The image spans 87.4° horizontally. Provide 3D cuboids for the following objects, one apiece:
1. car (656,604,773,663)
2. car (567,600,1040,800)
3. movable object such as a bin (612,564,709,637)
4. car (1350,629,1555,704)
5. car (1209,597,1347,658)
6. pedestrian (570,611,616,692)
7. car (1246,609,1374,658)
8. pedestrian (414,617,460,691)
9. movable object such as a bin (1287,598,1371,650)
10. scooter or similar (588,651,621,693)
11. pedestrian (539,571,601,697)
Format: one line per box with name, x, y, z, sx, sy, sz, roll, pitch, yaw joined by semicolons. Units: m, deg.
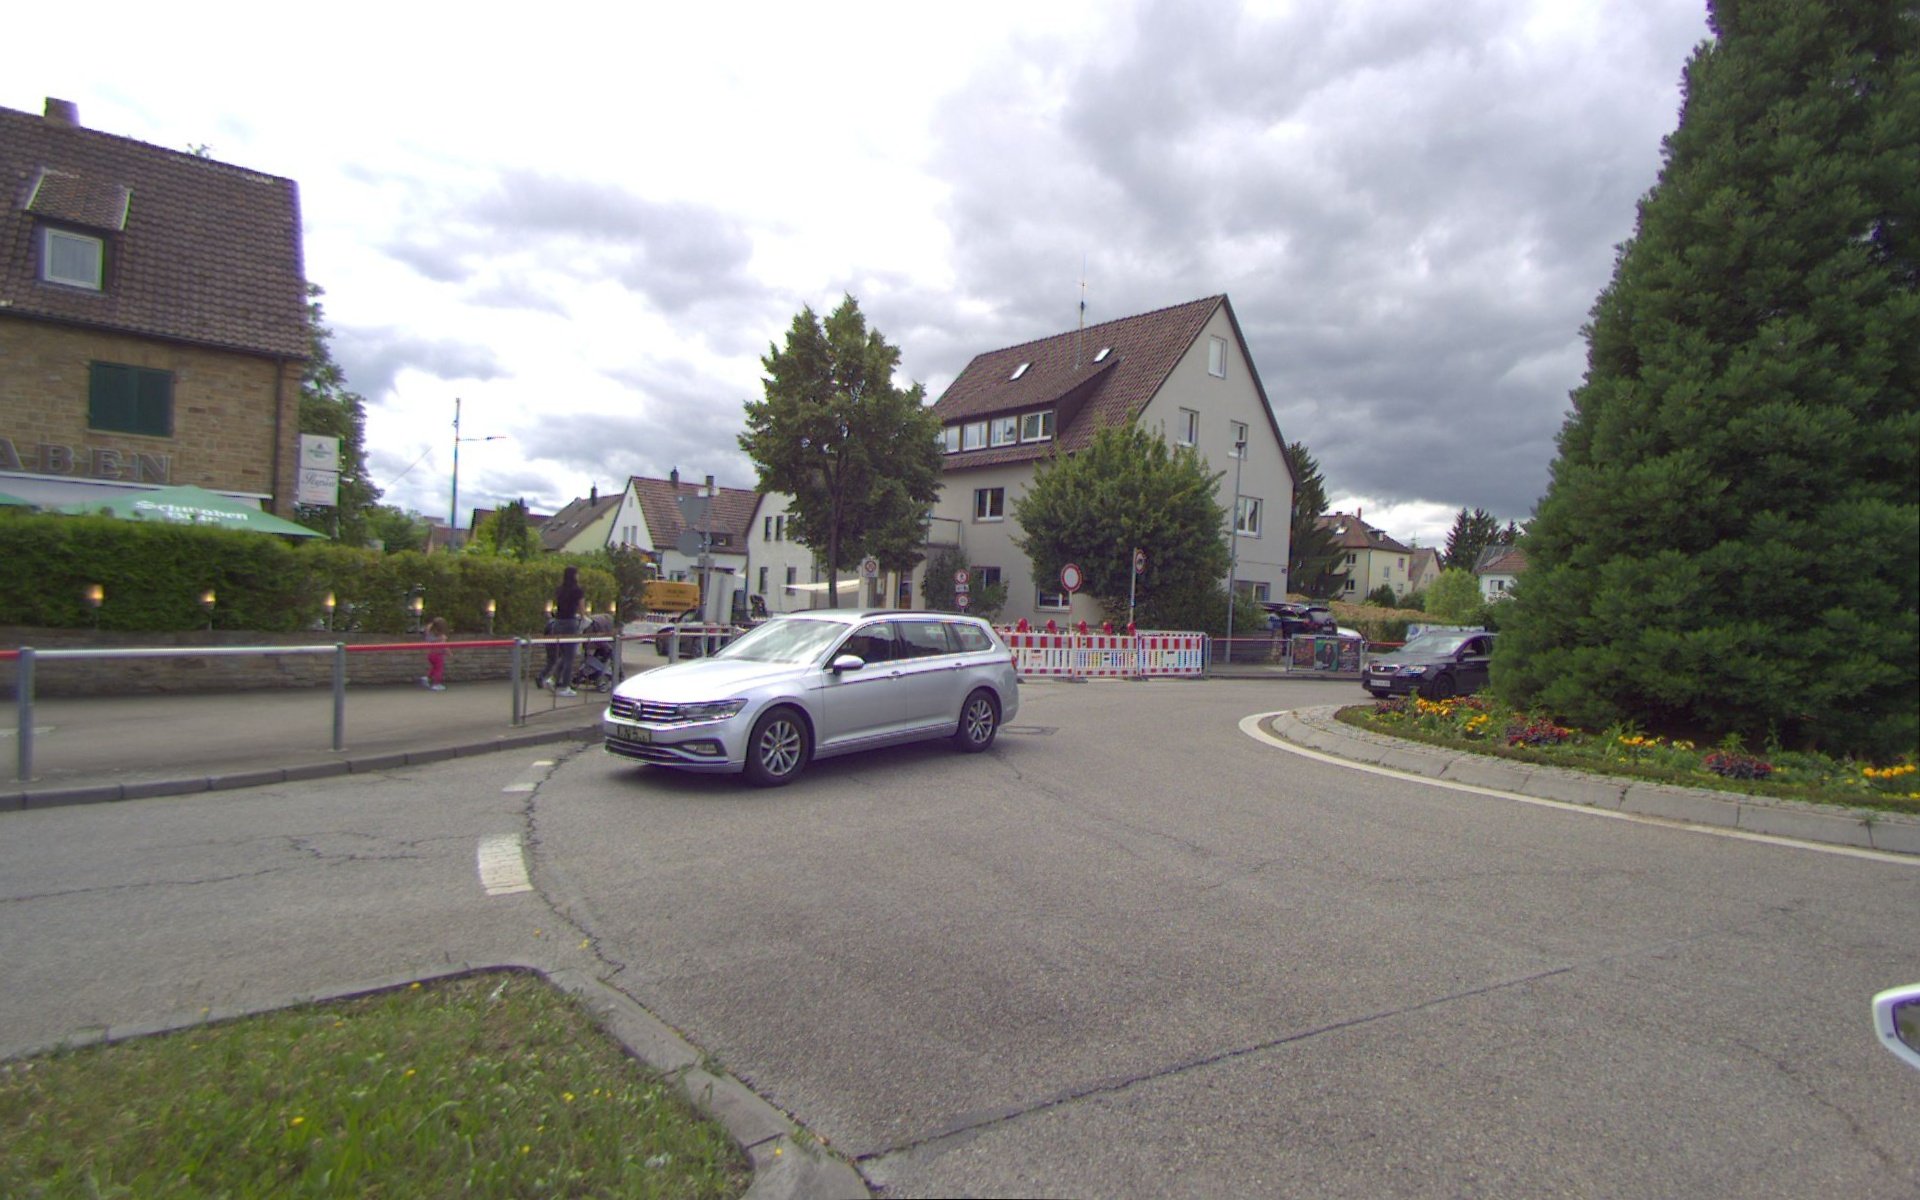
car;-6.660;0.870;27.033;1.685;1.350;3.574;2;0;-38
car;-1.247;0.810;9.946;1.779;1.474;4.673;1;-1;38
movable object such as a bin;-12.892;0.007;43.119;2.658;2.954;3.656;2;0;-40
car;10.120;1.362;20.648;3.921;1.393;1.533;2;-1;-21
car;10.484;0.888;33.316;1.841;1.684;3.884;4;0;-41
pedestrian;-5.237;0.729;14.332;0.581;1.115;0.450;1;1;-21
car;12.272;1.157;35.377;1.733;1.421;3.884;2;1;-41
pedestrian;-6.917;0.707;13.290;0.336;0.925;0.425;6;3;44
movable object such as a bin;17.161;1.136;46.594;4.333;2.217;1.877;3;0;-44
scooter or similar;-5.084;1.027;14.365;0.424;0.569;0.359;2;1;-21
pedestrian;-5.281;0.446;13.610;0.444;1.655;0.610;3;1;29
